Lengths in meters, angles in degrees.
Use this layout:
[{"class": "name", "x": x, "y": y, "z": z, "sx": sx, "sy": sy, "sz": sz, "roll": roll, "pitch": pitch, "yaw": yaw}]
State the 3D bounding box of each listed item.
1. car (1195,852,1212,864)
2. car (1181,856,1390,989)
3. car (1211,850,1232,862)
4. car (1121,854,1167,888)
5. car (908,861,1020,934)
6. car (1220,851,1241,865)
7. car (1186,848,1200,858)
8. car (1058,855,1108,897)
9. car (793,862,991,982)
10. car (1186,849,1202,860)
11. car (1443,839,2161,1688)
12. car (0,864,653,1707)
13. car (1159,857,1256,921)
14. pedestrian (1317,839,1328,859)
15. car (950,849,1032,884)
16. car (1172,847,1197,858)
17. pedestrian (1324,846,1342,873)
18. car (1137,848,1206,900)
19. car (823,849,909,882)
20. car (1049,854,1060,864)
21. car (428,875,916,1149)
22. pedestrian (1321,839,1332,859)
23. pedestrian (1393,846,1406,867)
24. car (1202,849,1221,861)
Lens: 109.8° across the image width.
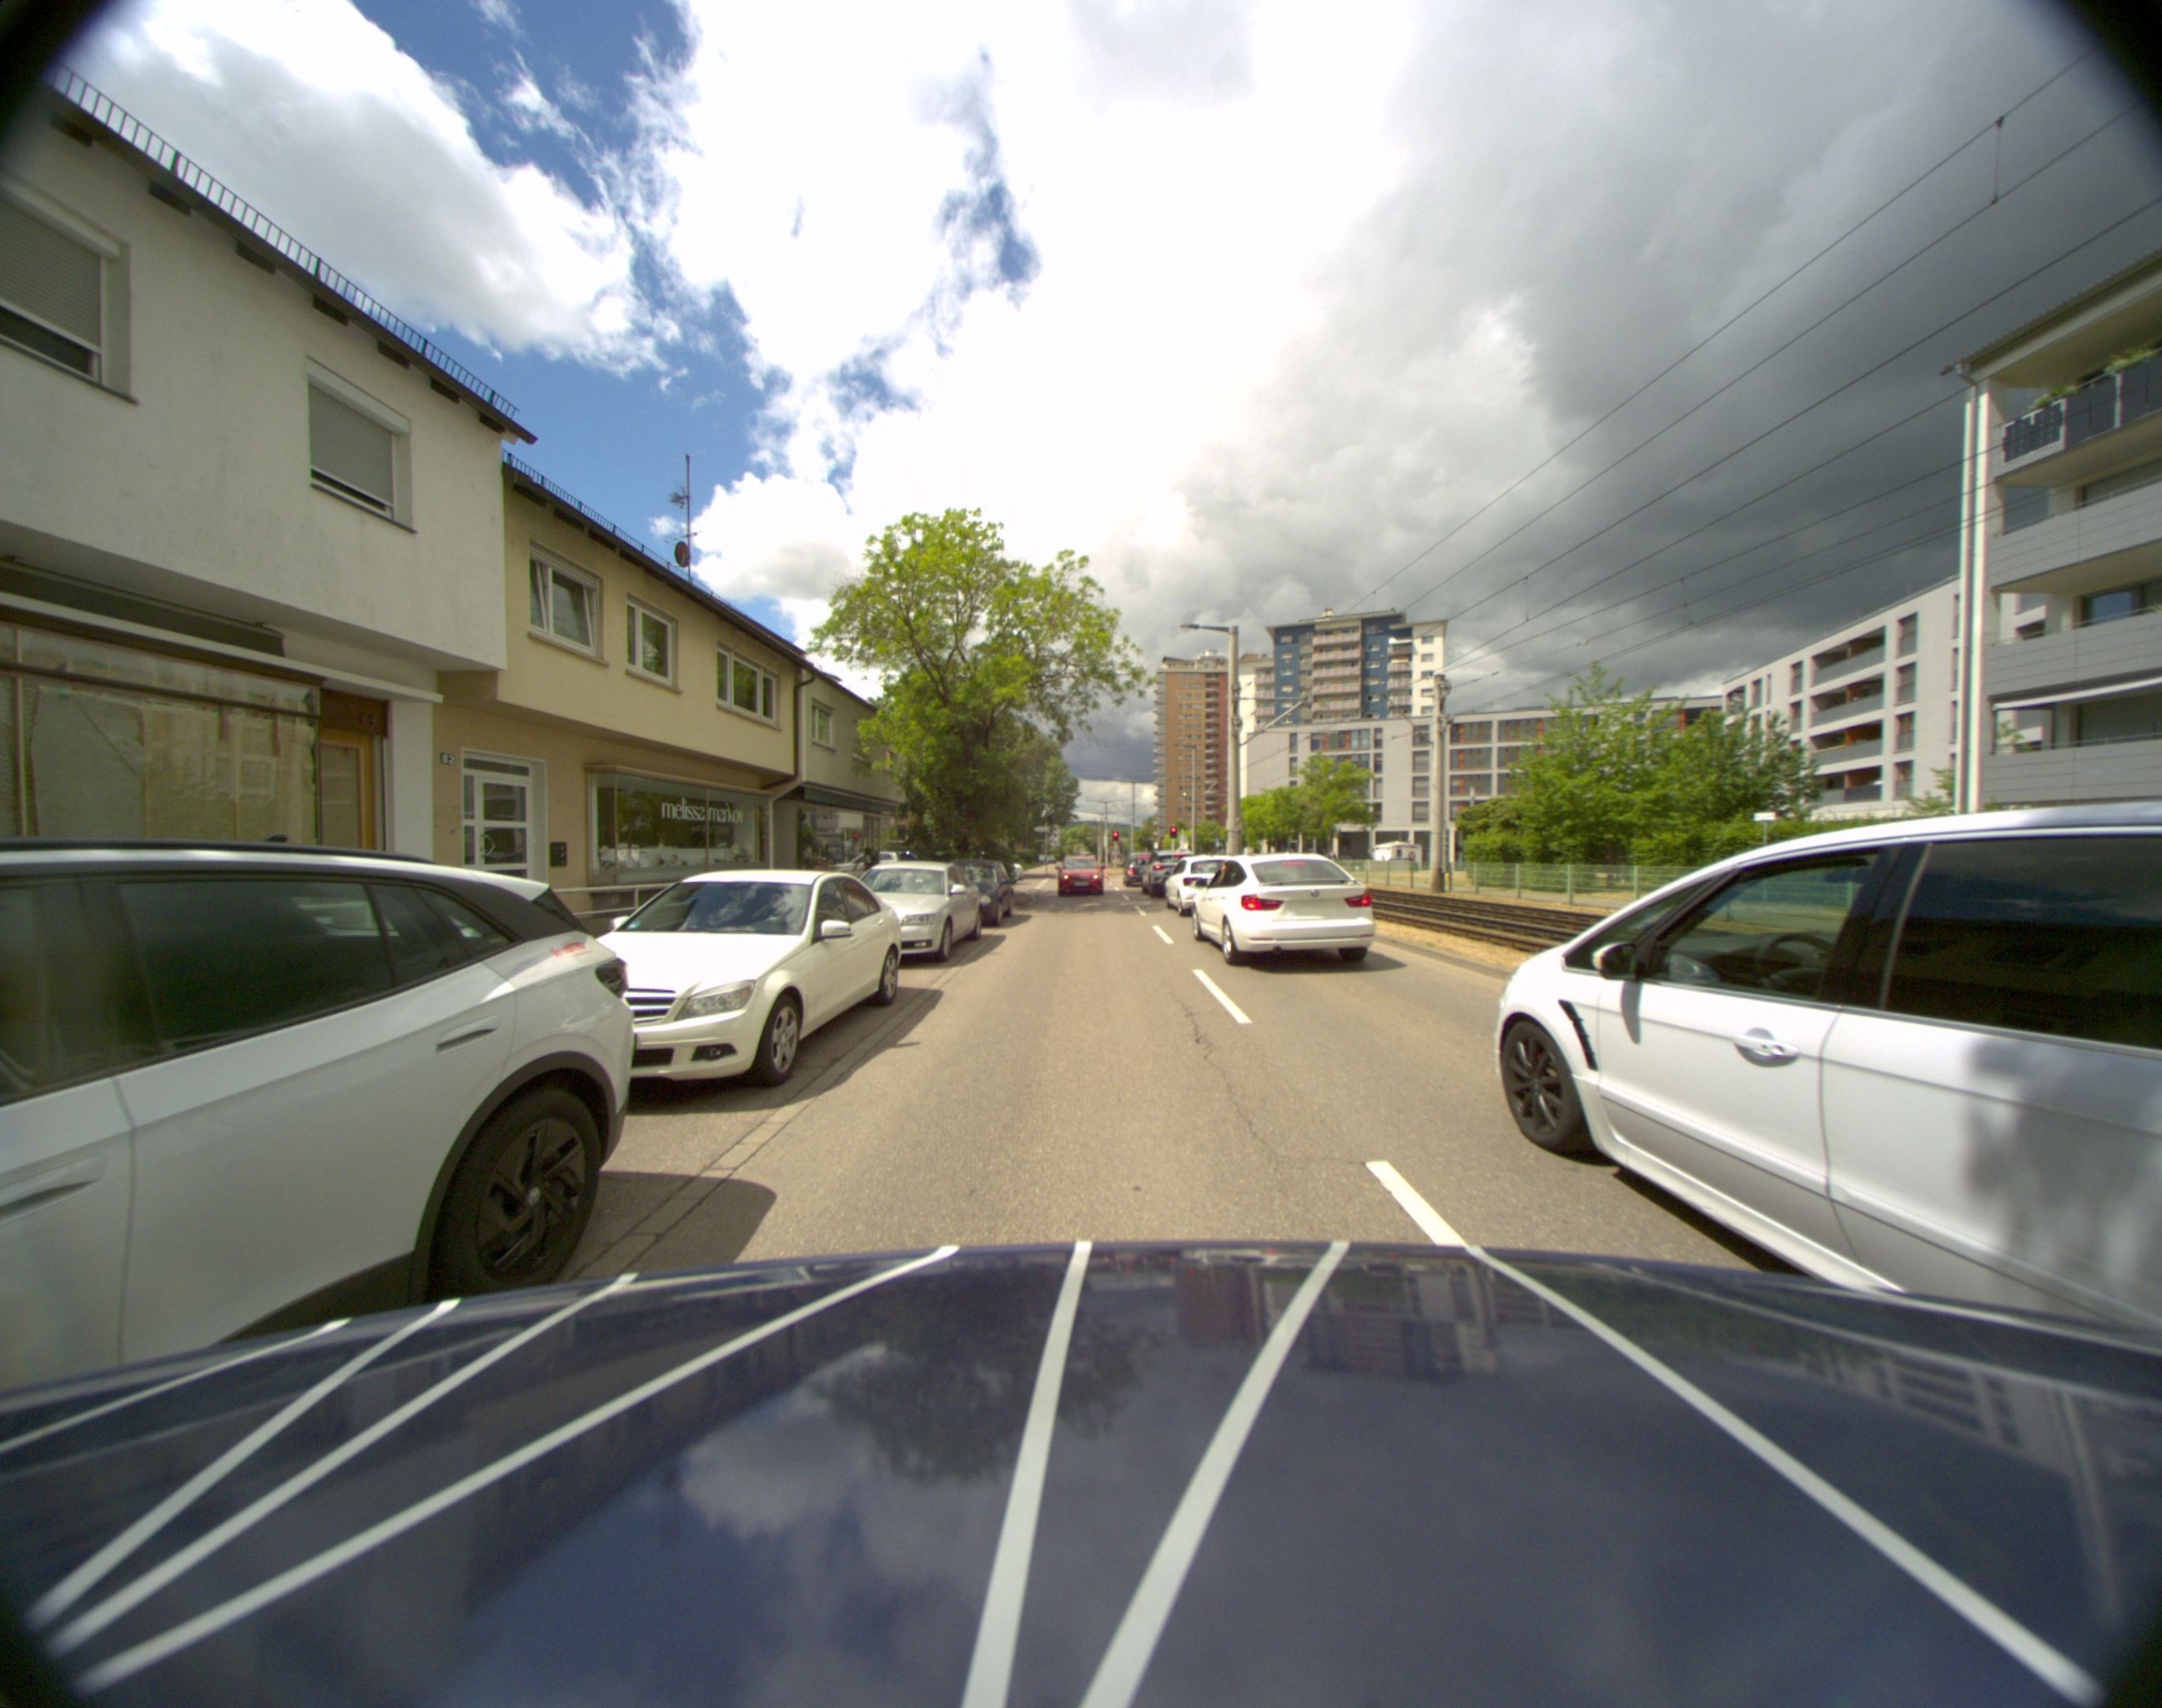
[{"class": "car", "x": 17.305, "y": 0.532, "z": 107.266, "sx": 1.781, "sy": 1.531, "sz": 3.803, "roll": -1, "pitch": 0, "yaw": 0}, {"class": "car", "x": 2.768, "y": 0.827, "z": 11.526, "sx": 1.822, "sy": 1.494, "sz": 4.836, "roll": -2, "pitch": 0, "yaw": 0}, {"class": "car", "x": 17.466, "y": 0.233, "z": 94.702, "sx": 1.893, "sy": 1.531, "sz": 3.803, "roll": -1, "pitch": 0, "yaw": 1}, {"class": "car", "x": 2.891, "y": 0.737, "z": 35.615, "sx": 1.815, "sy": 1.437, "sz": 4.465, "roll": -1, "pitch": 0, "yaw": 1}, {"class": "car", "x": -2.613, "y": 0.922, "z": 17.926, "sx": 1.818, "sy": 1.455, "sz": 4.041, "roll": -1, "pitch": 0, "yaw": 3}, {"class": "car", "x": 17.330, "y": 0.440, "z": 88.358, "sx": 1.893, "sy": 1.613, "sz": 3.804, "roll": -1, "pitch": 0, "yaw": 4}, {"class": "car", "x": 19.692, "y": -0.219, "z": 133.936, "sx": 1.781, "sy": 1.650, "sz": 3.803, "roll": -1, "pitch": 0, "yaw": 0}, {"class": "car", "x": 0.125, "y": 0.800, "z": 29.690, "sx": 1.791, "sy": 1.387, "sz": 4.241, "roll": -2, "pitch": 1, "yaw": 1}, {"class": "car", "x": -2.800, "y": 0.934, "z": 12.537, "sx": 1.818, "sy": 1.490, "sz": 4.911, "roll": -1, "pitch": 0, "yaw": 3}, {"class": "car", "x": 16.976, "y": 0.077, "z": 113.902, "sx": 1.781, "sy": 1.531, "sz": 3.803, "roll": -1, "pitch": 0, "yaw": 0}, {"class": "car", "x": 2.988, "y": 0.783, "z": 2.069, "sx": 1.822, "sy": 1.604, "sz": 4.601, "roll": -2, "pitch": 0, "yaw": 1}, {"class": "car", "x": -2.816, "y": 0.888, "z": 1.091, "sx": 1.842, "sy": 1.634, "sz": 4.429, "roll": -1, "pitch": 0, "yaw": 0}, {"class": "car", "x": 3.114, "y": 0.808, "z": 19.440, "sx": 1.751, "sy": 1.398, "sz": 3.939, "roll": -1, "pitch": 0, "yaw": -1}, {"class": "pedestrian", "x": 20.612, "y": -0.409, "z": 64.733, "sx": 0.749, "sy": 1.644, "sz": 0.538, "roll": -1, "pitch": 1, "yaw": 0}, {"class": "car", "x": -4.442, "y": 0.593, "z": 37.786, "sx": 3.642, "sy": 1.562, "sz": 1.843, "roll": 2, "pitch": 1, "yaw": 12}, {"class": "car", "x": 18.854, "y": -0.352, "z": 138.316, "sx": 4.505, "sy": 1.914, "sz": 1.877, "roll": -1, "pitch": 1, "yaw": -40}, {"class": "pedestrian", "x": 15.196, "y": 0.314, "z": 45.761, "sx": 0.756, "sy": 1.603, "sz": 0.938, "roll": -1, "pitch": 1, "yaw": 0}, {"class": "car", "x": 3.144, "y": 0.643, "z": 27.233, "sx": 1.862, "sy": 1.681, "sz": 4.432, "roll": -1, "pitch": 0, "yaw": -1}, {"class": "car", "x": -10.581, "y": 0.554, "z": 37.691, "sx": 3.939, "sy": 1.510, "sz": 1.801, "roll": 1, "pitch": 0, "yaw": -11}, {"class": "car", "x": -4.585, "y": 0.921, "z": 131.825, "sx": 1.843, "sy": 1.648, "sz": 3.789, "roll": -1, "pitch": 0, "yaw": 0}, {"class": "car", "x": -2.834, "y": 0.974, "z": 6.592, "sx": 1.729, "sy": 1.418, "sz": 4.446, "roll": -1, "pitch": 0, "yaw": 1}, {"class": "pedestrian", "x": 20.673, "y": -0.452, "z": 63.963, "sx": 0.749, "sy": 1.644, "sz": 0.538, "roll": -1, "pitch": 1, "yaw": 0}, {"class": "pedestrian", "x": 24.022, "y": 0.193, "z": 57.312, "sx": 0.538, "sy": 1.601, "sz": 0.748, "roll": -1, "pitch": 1, "yaw": -22}, {"class": "car", "x": 17.292, "y": 0.120, "z": 100.849, "sx": 1.781, "sy": 1.531, "sz": 3.803, "roll": -1, "pitch": 0, "yaw": 0}]
